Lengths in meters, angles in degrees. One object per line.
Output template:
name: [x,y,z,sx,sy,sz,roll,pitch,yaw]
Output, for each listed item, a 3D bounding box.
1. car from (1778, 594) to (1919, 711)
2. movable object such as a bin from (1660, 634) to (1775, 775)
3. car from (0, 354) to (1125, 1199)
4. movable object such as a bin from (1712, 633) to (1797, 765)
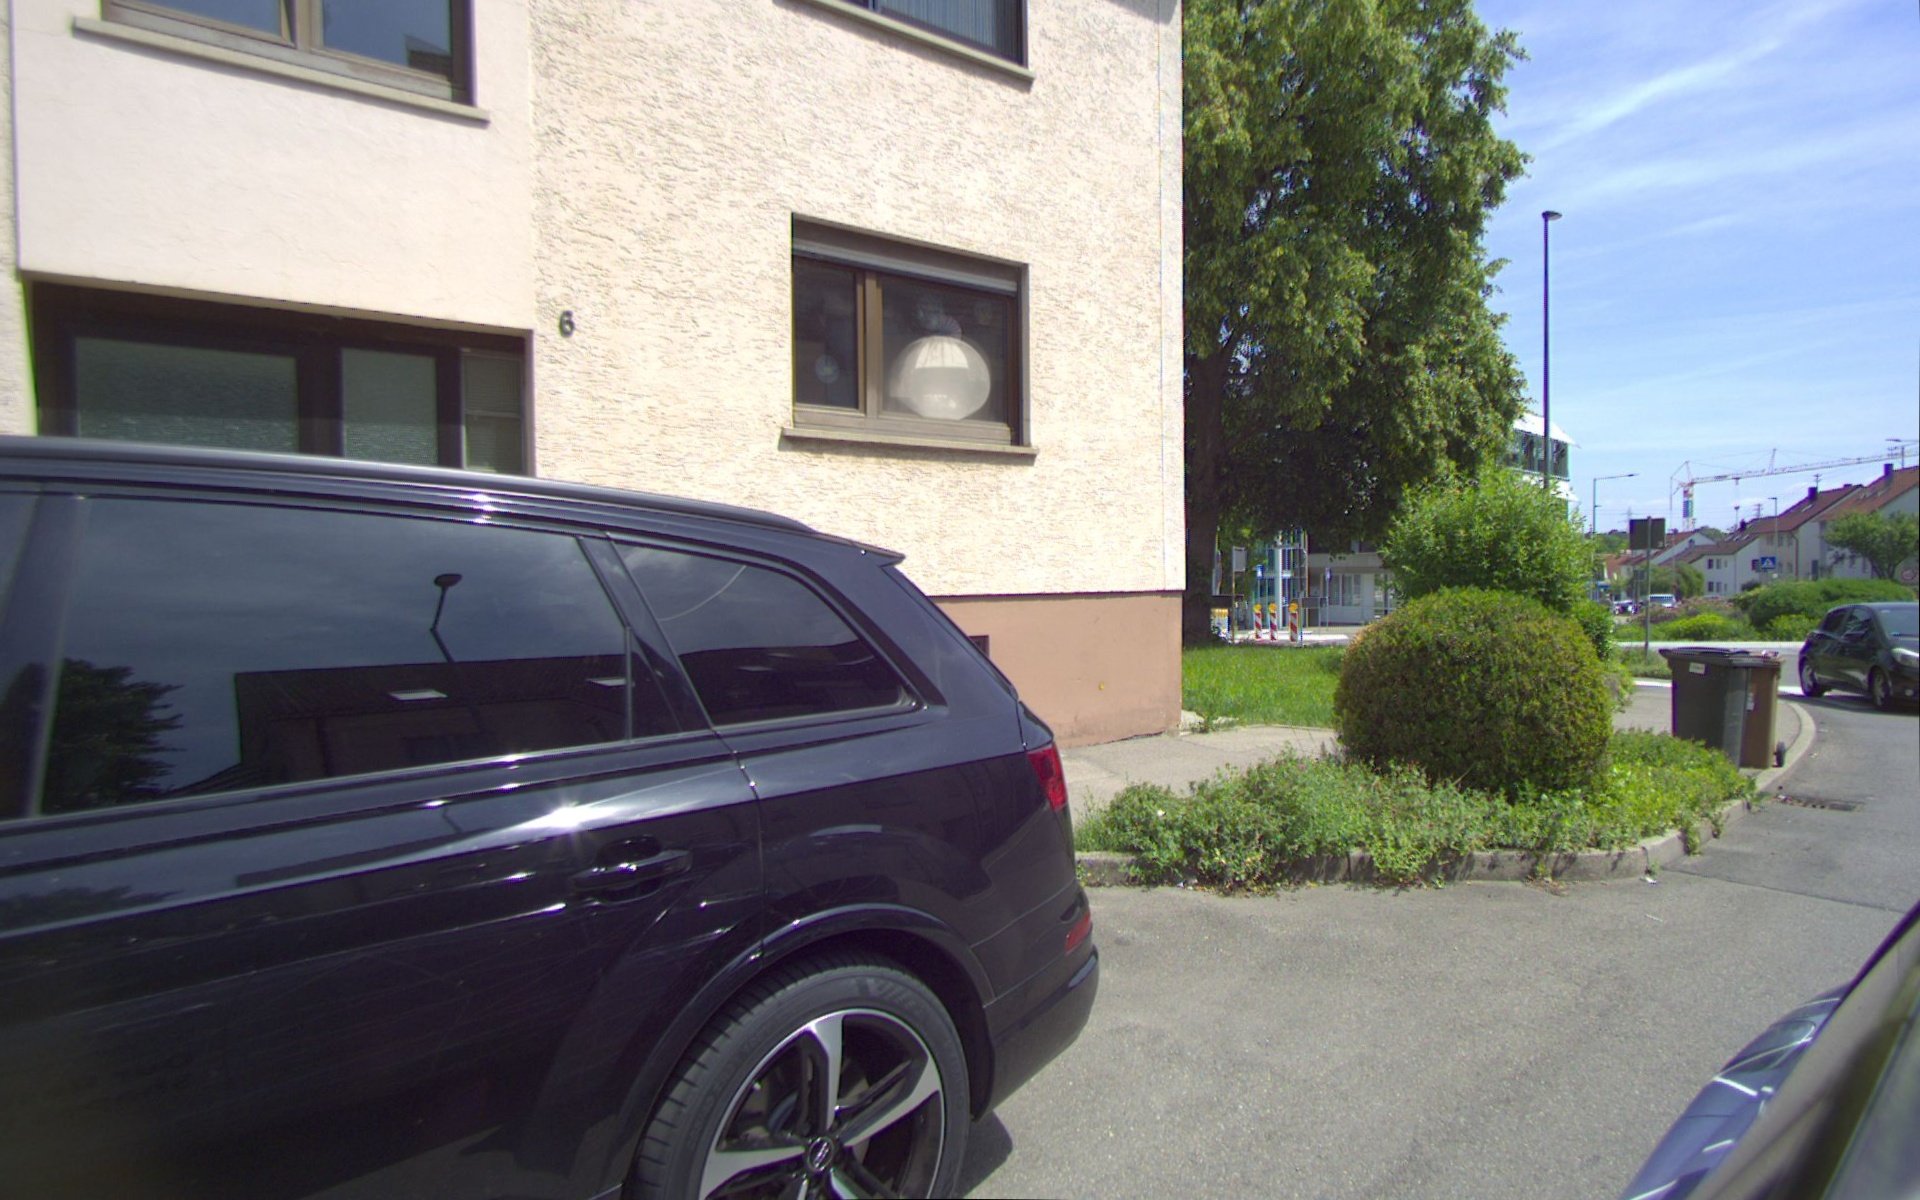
car: [13.607,0.668,14.425,1.706,1.475,4.398,0,0,21]
movable object such as a bin: [5.772,0.772,7.721,0.491,1.006,0.527,0,-1,-25]
car: [-1.960,0.570,1.647,4.573,1.691,1.847,-1,0,-40]
movable object such as a bin: [6.480,0.783,8.254,0.500,1.006,0.496,-1,0,42]
